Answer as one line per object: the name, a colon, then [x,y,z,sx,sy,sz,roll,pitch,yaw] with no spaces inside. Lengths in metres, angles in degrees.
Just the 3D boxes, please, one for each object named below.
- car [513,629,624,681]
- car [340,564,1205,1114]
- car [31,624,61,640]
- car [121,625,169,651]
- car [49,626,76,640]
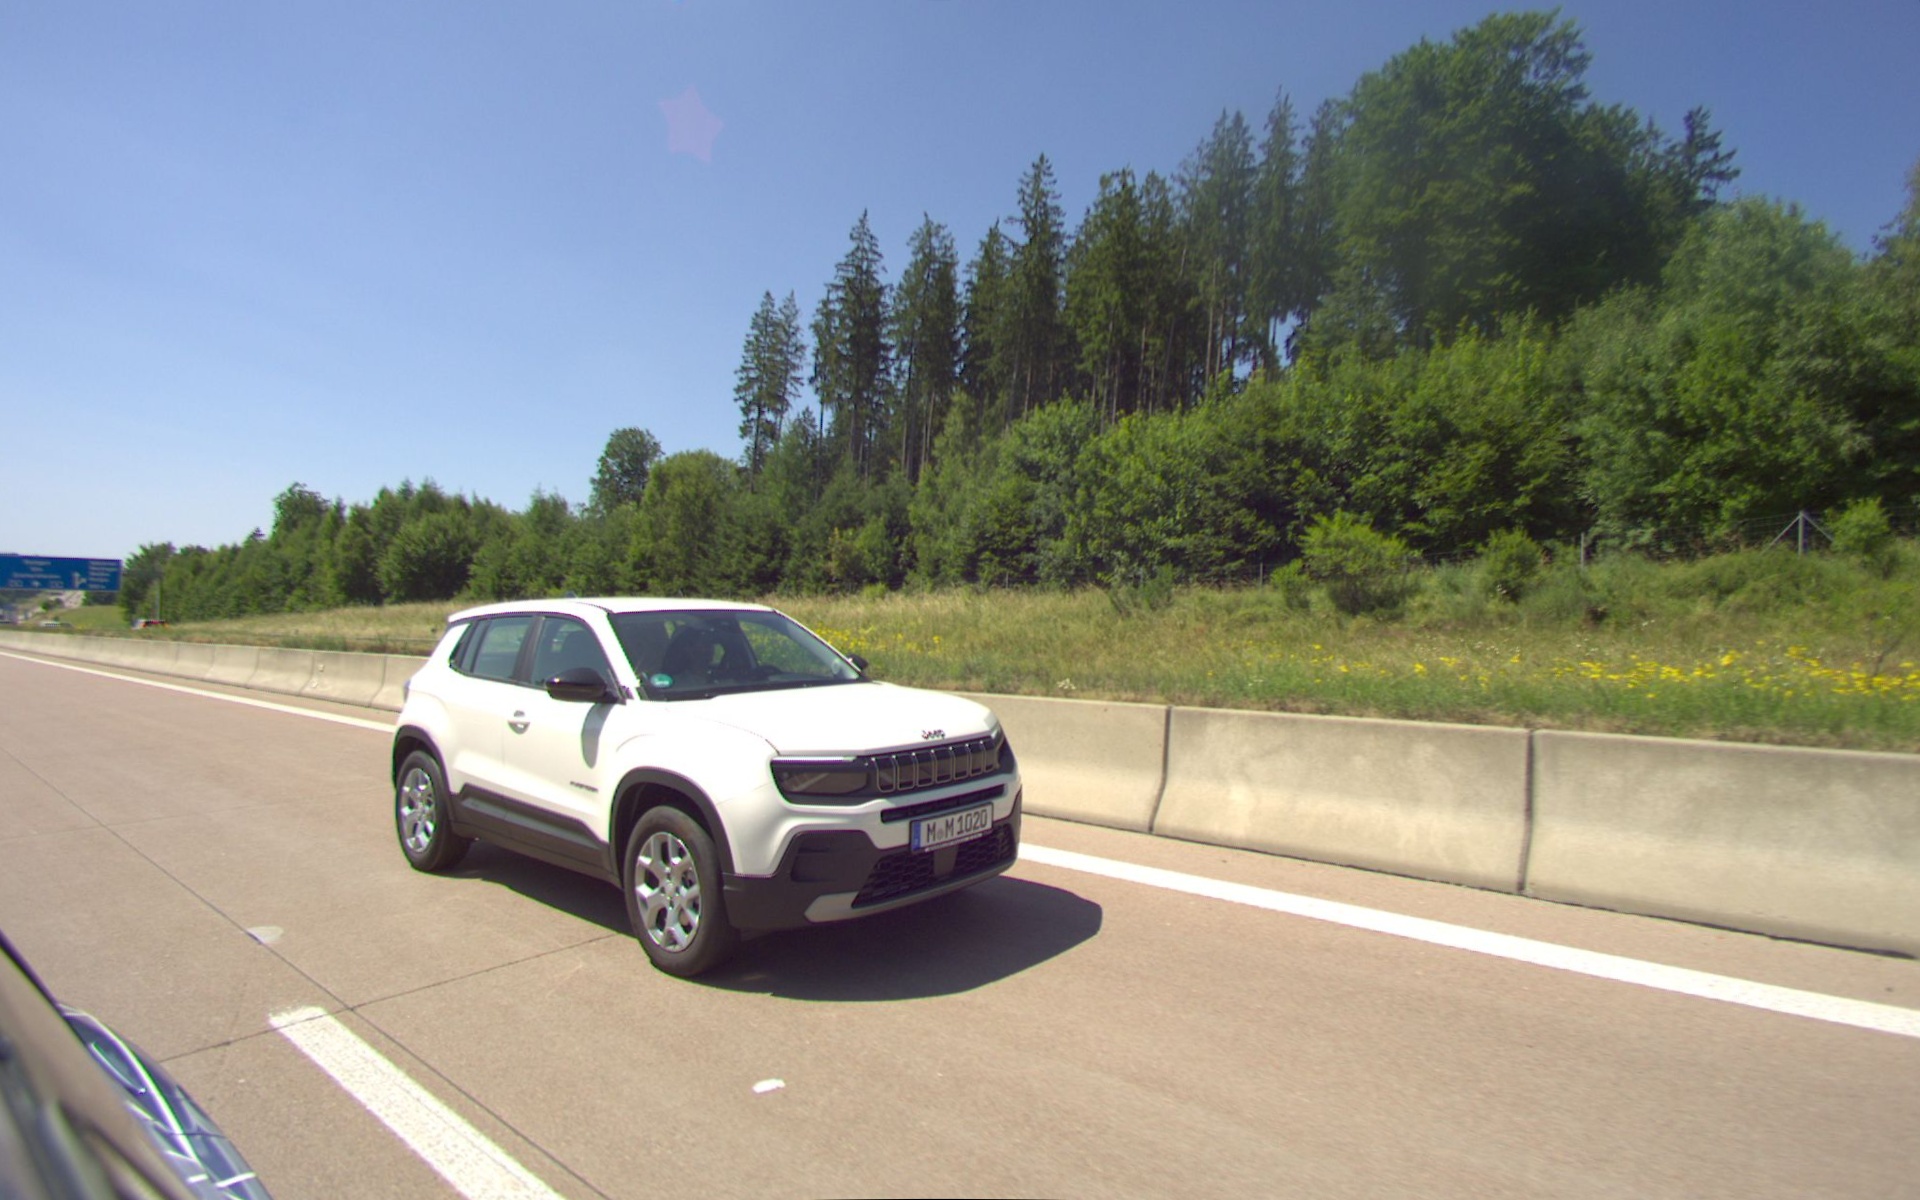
car: [-14.426,1.978,37.225,4.459,1.752,1.872,-1,-1,40]
car: [-1.358,0.724,5.284,4.831,1.619,1.859,-1,-1,41]
car: [-95.815,3.379,106.087,4.462,1.606,1.871,-2,-1,42]
car: [-57.835,2.705,71.788,4.460,1.752,1.872,-2,-1,40]
car: [-107.261,3.881,120.949,4.462,1.606,1.871,-2,-1,42]
